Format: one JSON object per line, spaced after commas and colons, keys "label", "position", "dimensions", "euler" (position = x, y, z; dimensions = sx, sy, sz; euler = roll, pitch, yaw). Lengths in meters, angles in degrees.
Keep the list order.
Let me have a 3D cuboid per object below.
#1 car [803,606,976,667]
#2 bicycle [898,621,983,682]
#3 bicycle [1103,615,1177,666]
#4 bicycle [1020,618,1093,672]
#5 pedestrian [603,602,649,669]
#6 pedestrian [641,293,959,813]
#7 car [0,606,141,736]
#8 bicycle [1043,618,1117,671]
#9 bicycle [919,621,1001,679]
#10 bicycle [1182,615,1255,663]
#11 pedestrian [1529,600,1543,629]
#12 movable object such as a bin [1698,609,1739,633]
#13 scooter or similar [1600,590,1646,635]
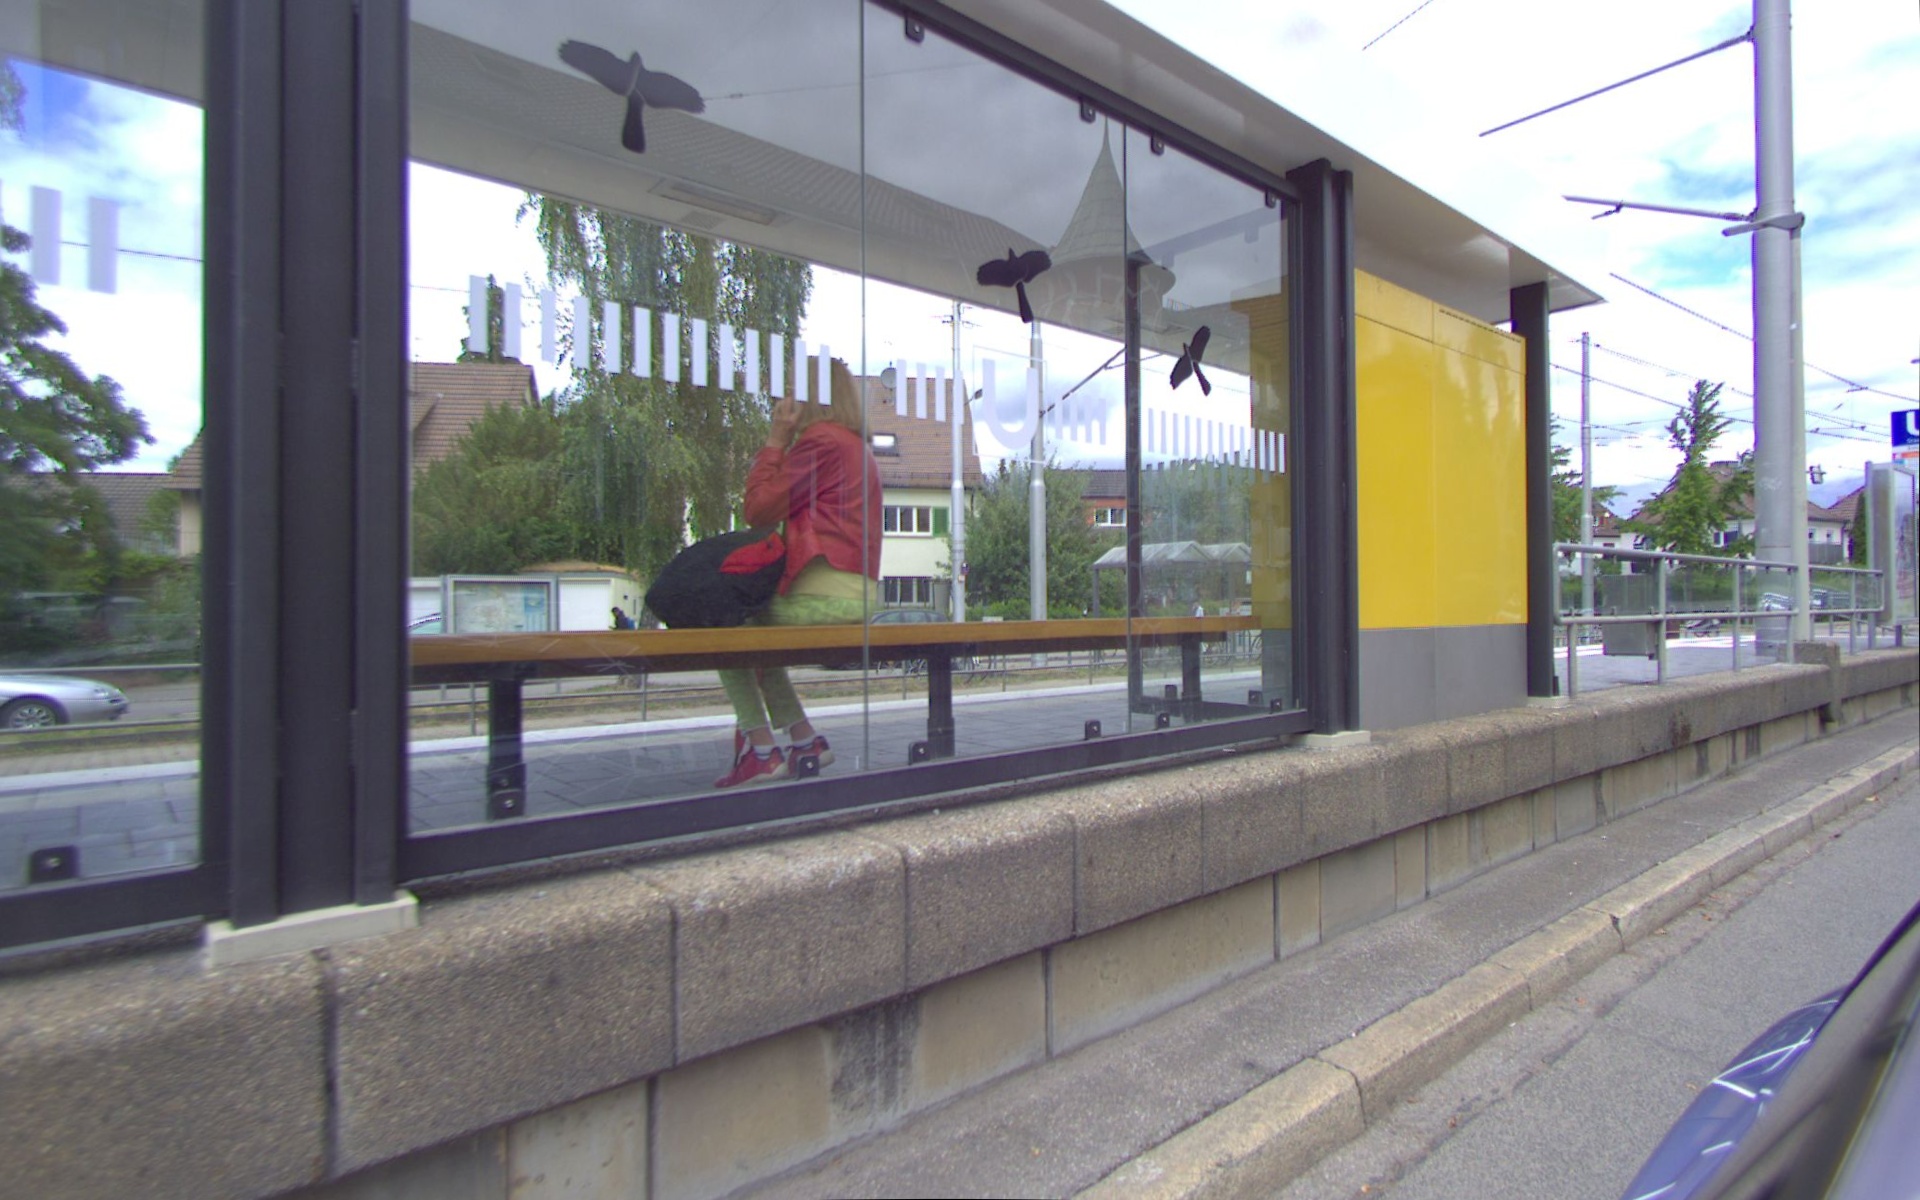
{"label": "car", "position": [-1.908, 0.935, 27.508], "dimensions": [4.331, 1.505, 1.824], "euler": [-1, -1, -26]}
{"label": "bicycle", "position": [-0.377, 0.926, 18.688], "dimensions": [0.547, 1.055, 1.767], "euler": [0, -1, -42]}
{"label": "bicycle", "position": [3.957, 0.874, 22.368], "dimensions": [0.546, 1.055, 1.771], "euler": [0, -1, -31]}
{"label": "bicycle", "position": [1.982, 0.909, 21.051], "dimensions": [0.546, 1.055, 1.771], "euler": [0, -1, -31]}
{"label": "pedestrian", "position": [-8.877, 0.928, 26.866], "dimensions": [0.931, 1.707, 0.810], "euler": [0, -1, -38]}
{"label": "pedestrian", "position": [-0.477, -0.122, 3.031], "dimensions": [0.707, 1.315, 0.621], "euler": [0, -1, -43]}
{"label": "car", "position": [-13.112, 0.904, 12.843], "dimensions": [4.183, 1.594, 2.068], "euler": [0, -1, -39]}
{"label": "bicycle", "position": [2.512, 0.914, 21.367], "dimensions": [0.546, 1.055, 1.771], "euler": [0, -1, -31]}
{"label": "bicycle", "position": [-0.020, 0.930, 19.443], "dimensions": [0.547, 1.055, 1.767], "euler": [0, -1, -41]}
{"label": "bicycle", "position": [6.039, 0.897, 23.715], "dimensions": [0.546, 1.055, 1.771], "euler": [0, -1, -31]}
{"label": "pedestrian", "position": [34.385, 0.857, 60.427], "dimensions": [0.593, 1.640, 0.671], "euler": [-4, -2, 29]}
{"label": "movable object such as a bin", "position": [27.951, 0.770, 37.286], "dimensions": [1.072, 0.835, 0.580], "euler": [-1, -1, -6]}
{"label": "scooter or similar", "position": [20.303, 0.378, 31.003], "dimensions": [0.480, 1.333, 1.052], "euler": [1, -1, -30]}
